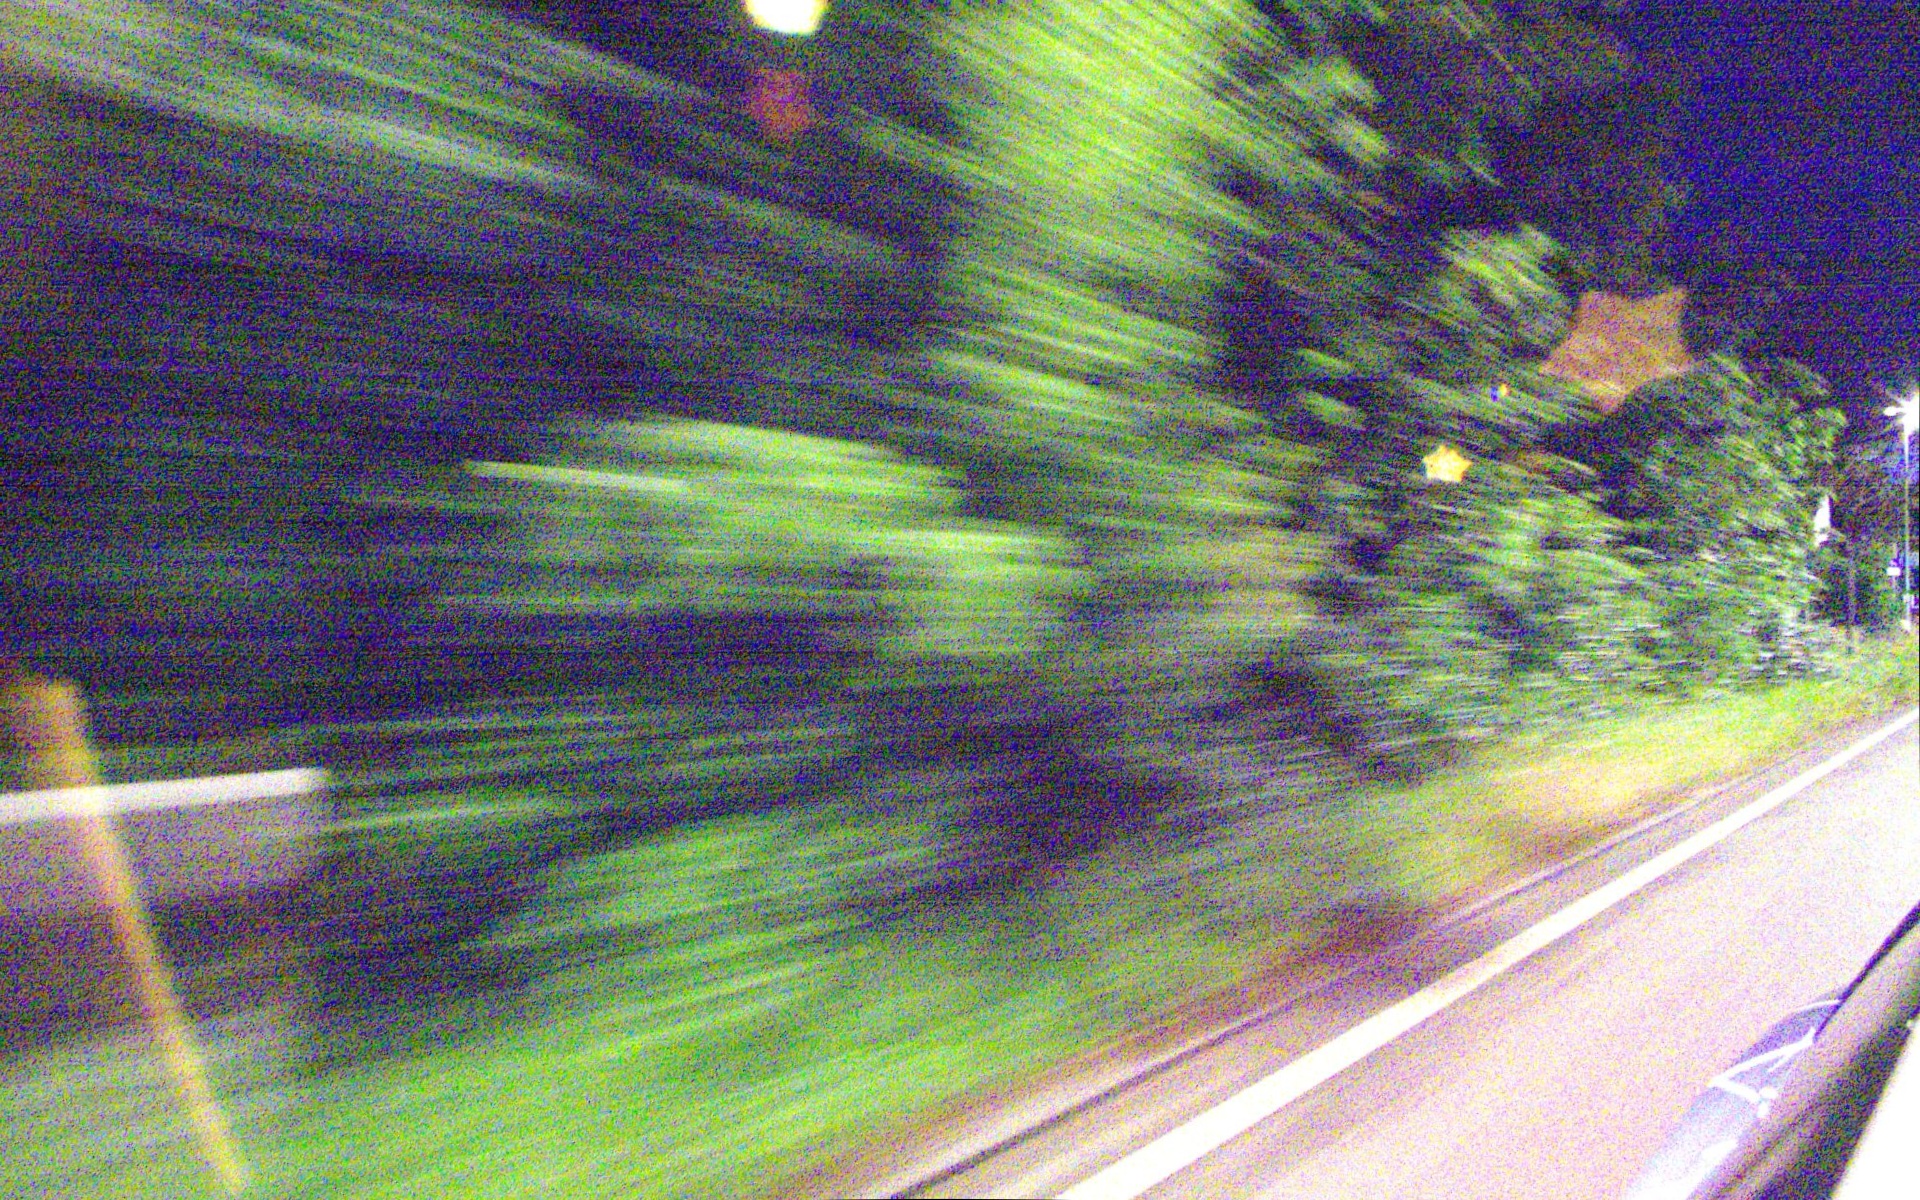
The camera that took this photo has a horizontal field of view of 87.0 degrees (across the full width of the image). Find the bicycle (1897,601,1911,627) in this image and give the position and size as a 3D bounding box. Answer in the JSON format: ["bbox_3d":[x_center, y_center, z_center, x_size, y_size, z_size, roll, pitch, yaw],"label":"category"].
[{"bbox_3d":[40.269,0.590,43.170,0.294,0.994,1.918,-1,3,39],"label":"bicycle"}]
